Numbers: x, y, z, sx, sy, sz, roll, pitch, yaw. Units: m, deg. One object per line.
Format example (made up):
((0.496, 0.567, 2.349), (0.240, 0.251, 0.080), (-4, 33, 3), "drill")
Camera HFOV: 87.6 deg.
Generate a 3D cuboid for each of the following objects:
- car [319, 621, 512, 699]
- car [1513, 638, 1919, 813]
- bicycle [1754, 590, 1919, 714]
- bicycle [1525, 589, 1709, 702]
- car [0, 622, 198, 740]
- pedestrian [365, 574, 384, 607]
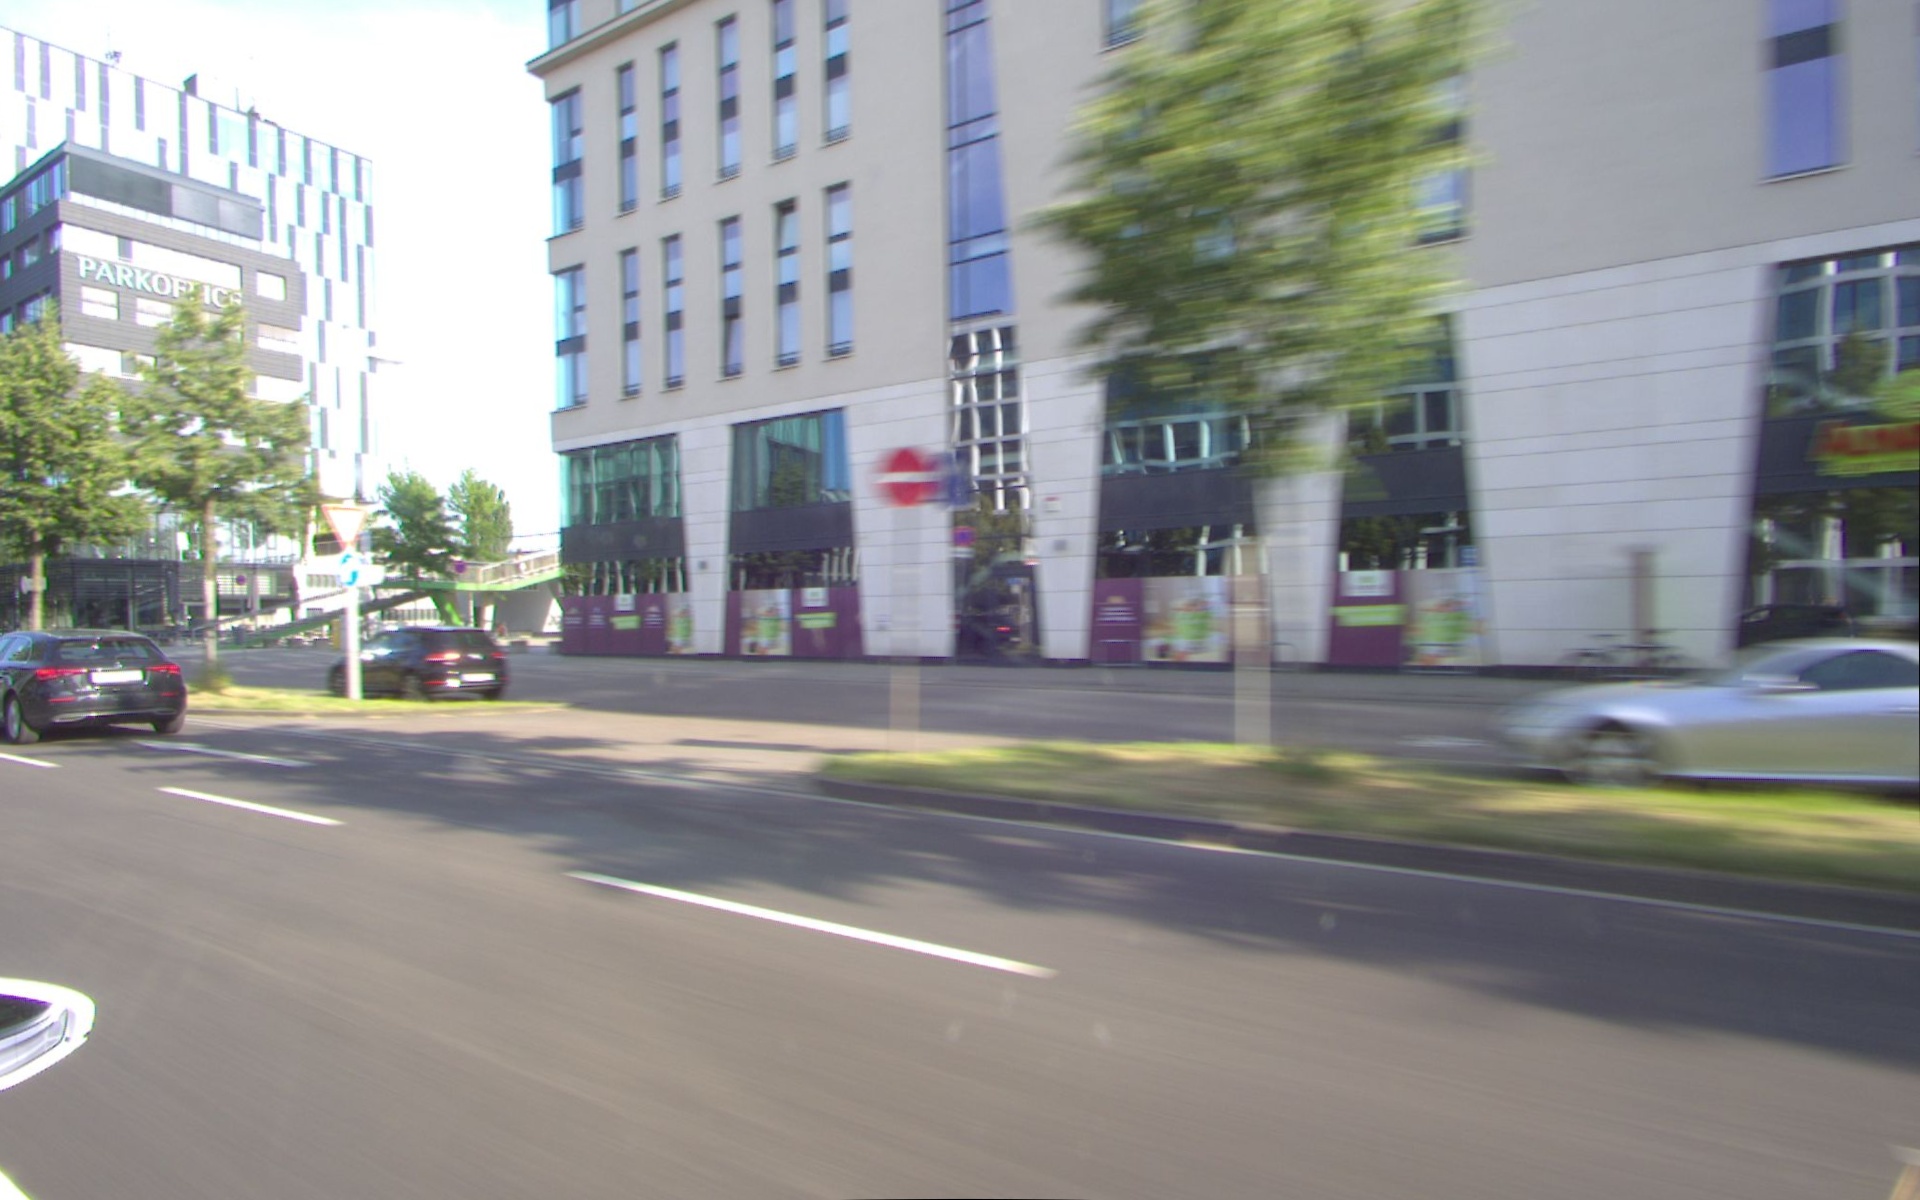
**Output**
((-10.712, 1.141, 19.619), (4.100, 1.388, 1.603), (-2, -2, 34), "car")
((6.800, 0.946, 8.269), (3.849, 1.258, 1.706), (-1, -2, 32), "car")
((12.045, 0.689, 13.364), (2.182, 1.587, 0.554), (-2, -2, 33), "bicycle")
((9.788, 0.683, 15.008), (2.245, 1.590, 0.554), (-2, -2, 33), "bicycle")
((-12.563, 1.065, 14.052), (3.905, 1.442, 1.771), (-1, -2, 33), "car")
((-31.351, -0.484, 53.645), (0.689, 1.713, 0.779), (1, -2, -45), "pedestrian")
